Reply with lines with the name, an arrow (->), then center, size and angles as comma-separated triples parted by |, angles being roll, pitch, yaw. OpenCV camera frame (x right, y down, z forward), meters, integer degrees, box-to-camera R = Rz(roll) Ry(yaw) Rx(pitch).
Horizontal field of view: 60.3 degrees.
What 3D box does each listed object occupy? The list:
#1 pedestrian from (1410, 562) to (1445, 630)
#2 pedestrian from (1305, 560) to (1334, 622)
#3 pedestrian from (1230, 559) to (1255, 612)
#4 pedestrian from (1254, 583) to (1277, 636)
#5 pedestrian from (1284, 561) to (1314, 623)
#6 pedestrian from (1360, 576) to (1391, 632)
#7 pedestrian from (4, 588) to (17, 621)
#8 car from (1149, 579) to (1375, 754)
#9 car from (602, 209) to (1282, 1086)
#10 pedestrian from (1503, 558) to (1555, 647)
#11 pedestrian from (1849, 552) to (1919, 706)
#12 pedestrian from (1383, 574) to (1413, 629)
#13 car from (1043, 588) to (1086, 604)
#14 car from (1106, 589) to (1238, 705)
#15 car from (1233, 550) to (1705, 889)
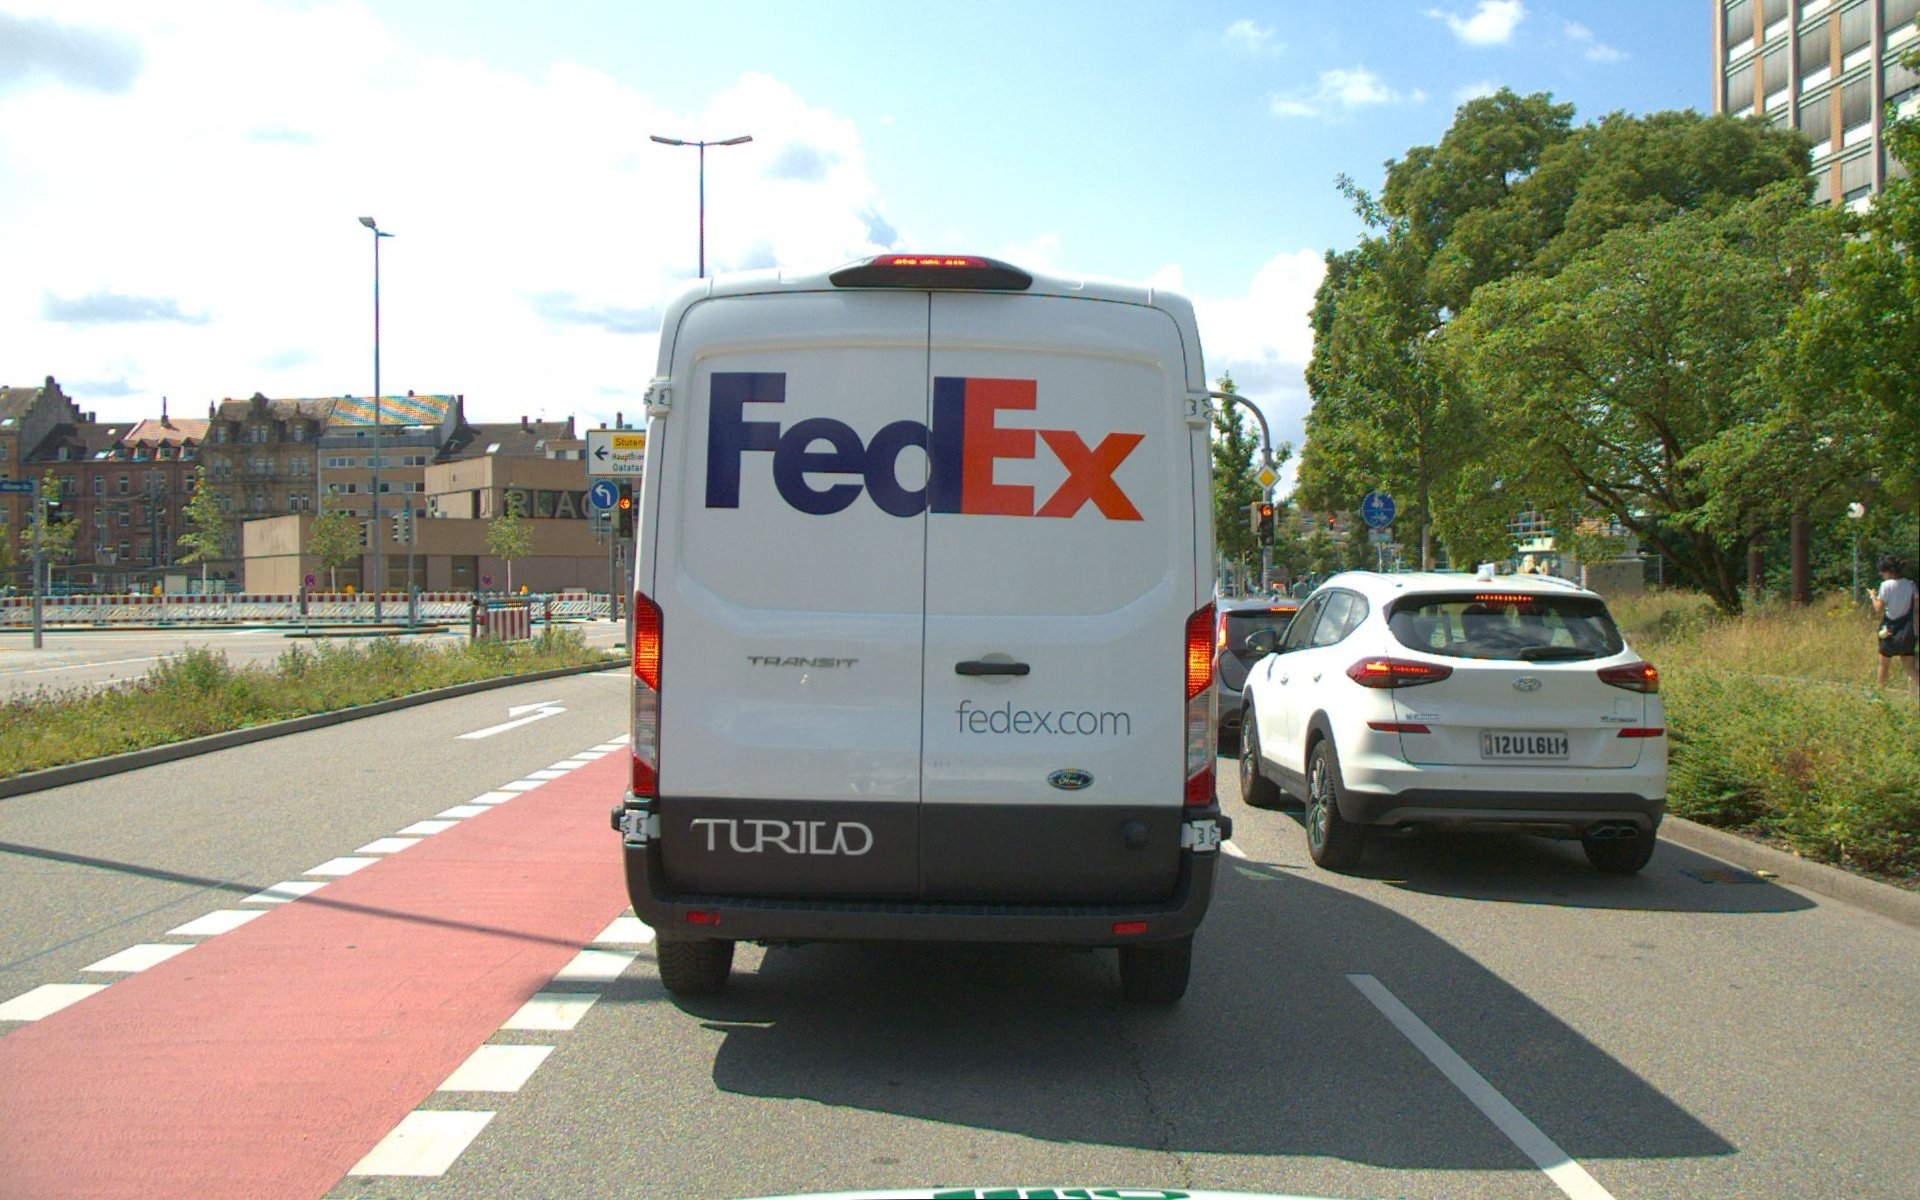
pedestrian -> 12.627, -0.119, 44.701 | 0.743, 1.820, 0.816 | 0, 0, 4
pedestrian -> 11.038, -0.273, 50.804 | 0.743, 1.882, 0.816 | 0, 0, 3
pedestrian -> 10.270, -0.524, 60.042 | 0.796, 1.882, 0.761 | 0, 0, 2
pedestrian -> 10.940, 0.348, 59.196 | 0.742, 1.882, 0.817 | 0, 0, 14
pedestrian -> 10.306, -0.249, 50.289 | 0.743, 1.882, 0.816 | 0, 0, 1
pedestrian -> 14.105, 0.126, 56.224 | 0.745, 1.882, 0.814 | -1, 0, -11
pedestrian -> -48.280, 0.218, 84.105 | 0.416, 1.681, 0.416 | 1, -1, 33
car -> 2.947, 0.581, 16.817 | 1.656, 1.576, 3.721 | 0, 1, 1
car -> -0.024, 0.120, 7.188 | 2.030, 2.626, 4.428 | 0, 1, 1
pedestrian -> 10.955, 0.048, 31.871 | 0.743, 1.684, 0.816 | 0, 0, 3
pedestrian -> 9.929, 0.291, 17.378 | 0.743, 1.584, 0.816 | 0, 0, 0
pedestrian -> 14.938, 0.046, 56.436 | 0.745, 1.882, 0.814 | 0, 0, -9
car -> 10.238, -0.376, 162.283 | 4.147, 1.524, 1.740 | 0, 1, -1
car -> 2.925, 0.603, 23.357 | 1.468, 1.489, 3.474 | 0, 1, 1
car -> 2.910, 0.584, 10.373 | 1.777, 1.708, 3.974 | 0, 1, 1
